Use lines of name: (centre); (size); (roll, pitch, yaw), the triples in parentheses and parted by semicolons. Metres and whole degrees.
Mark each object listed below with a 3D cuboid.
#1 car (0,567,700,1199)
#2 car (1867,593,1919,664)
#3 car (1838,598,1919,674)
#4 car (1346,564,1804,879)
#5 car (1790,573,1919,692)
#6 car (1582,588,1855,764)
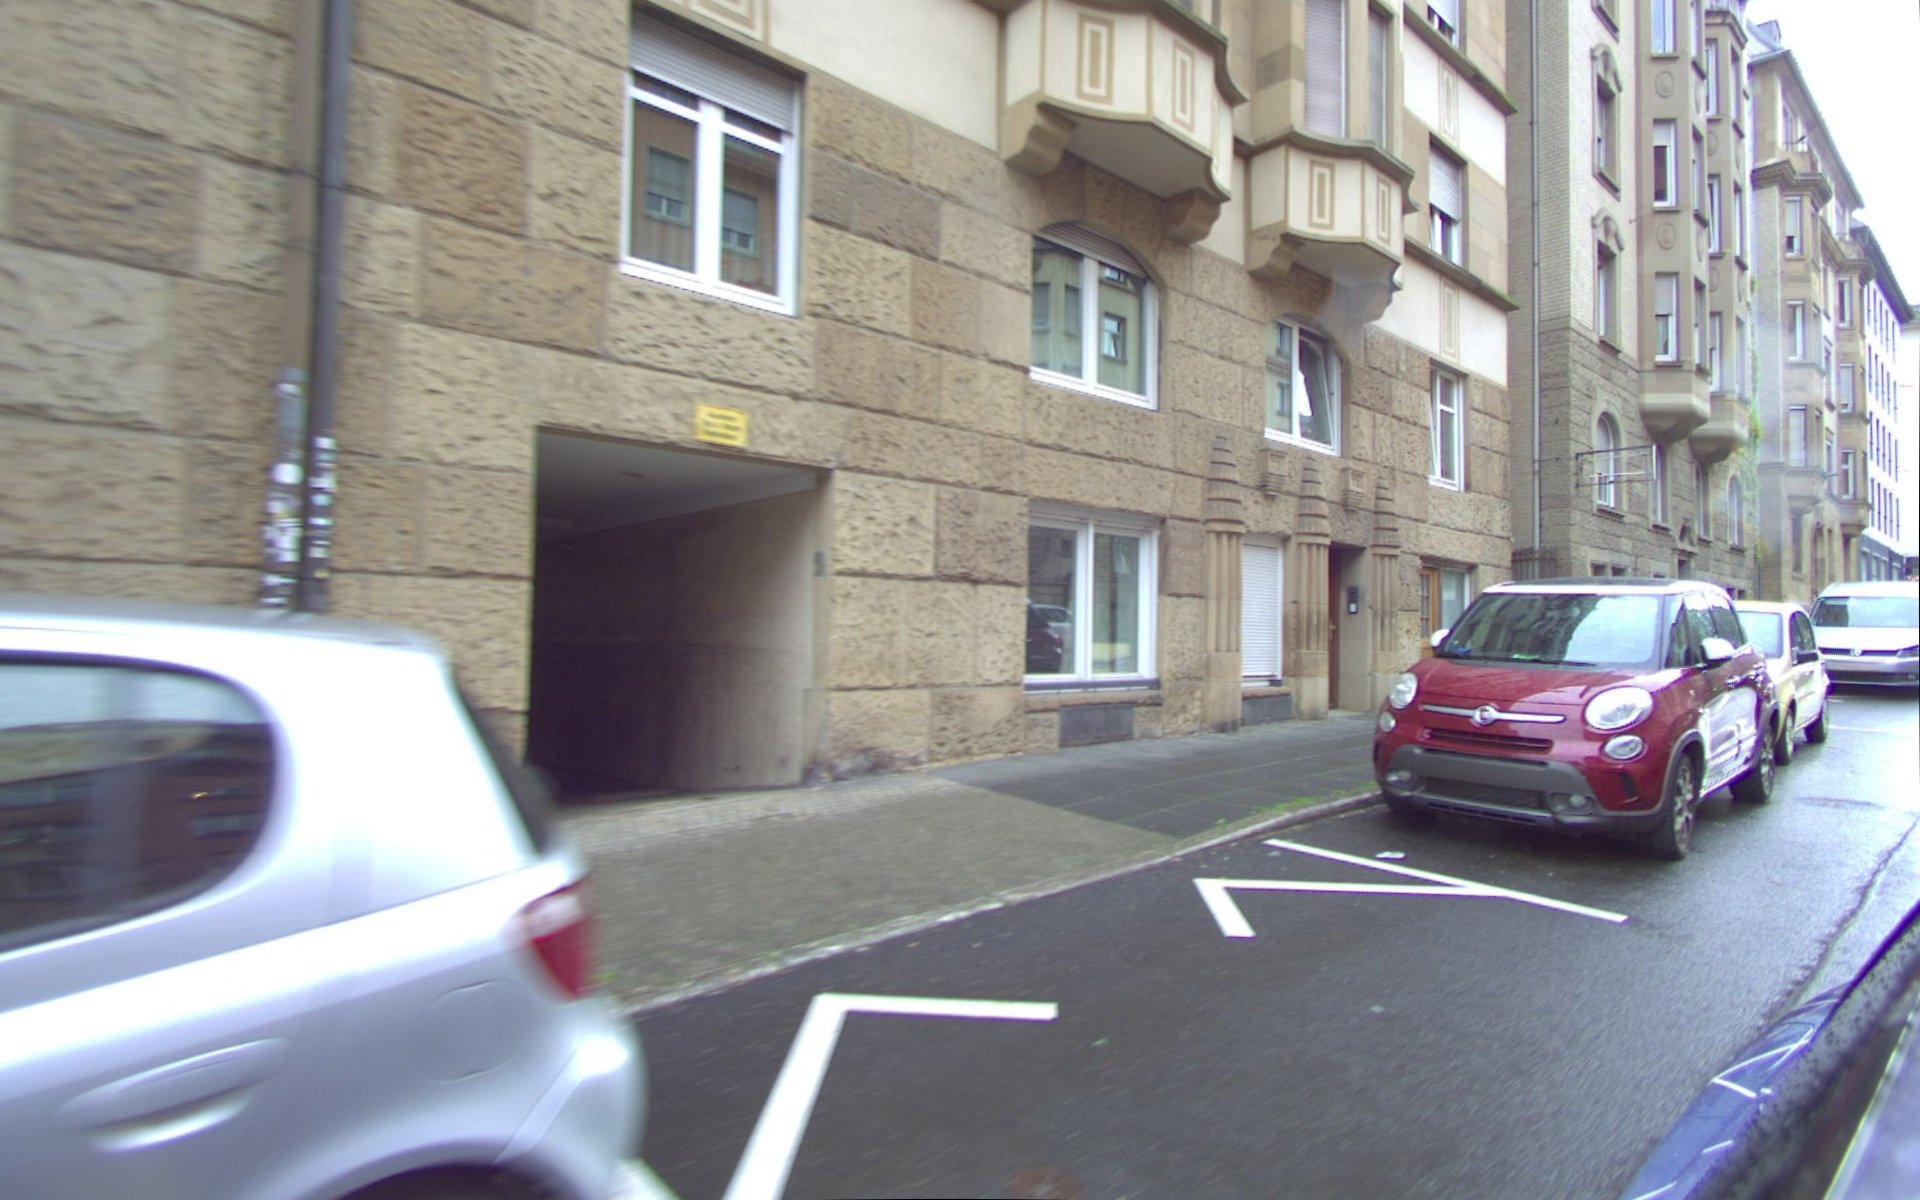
car: (-2.279, 0.708, 1.251); (3.460, 1.505, 1.597); (0, 0, -41)
car: (22.517, 0.616, 23.306); (3.987, 1.544, 1.933); (0, -1, -41)
car: (19.196, 0.672, 20.234); (3.912, 1.406, 1.929); (0, -1, -41)
car: (4.531, 0.607, 7.206); (3.932, 1.622, 1.772); (0, 1, -42)
car: (15.442, 0.484, 16.906); (3.893, 1.791, 1.809); (0, 0, -41)
car: (7.982, 0.667, 10.553); (3.471, 1.530, 1.630); (0, -1, -42)
